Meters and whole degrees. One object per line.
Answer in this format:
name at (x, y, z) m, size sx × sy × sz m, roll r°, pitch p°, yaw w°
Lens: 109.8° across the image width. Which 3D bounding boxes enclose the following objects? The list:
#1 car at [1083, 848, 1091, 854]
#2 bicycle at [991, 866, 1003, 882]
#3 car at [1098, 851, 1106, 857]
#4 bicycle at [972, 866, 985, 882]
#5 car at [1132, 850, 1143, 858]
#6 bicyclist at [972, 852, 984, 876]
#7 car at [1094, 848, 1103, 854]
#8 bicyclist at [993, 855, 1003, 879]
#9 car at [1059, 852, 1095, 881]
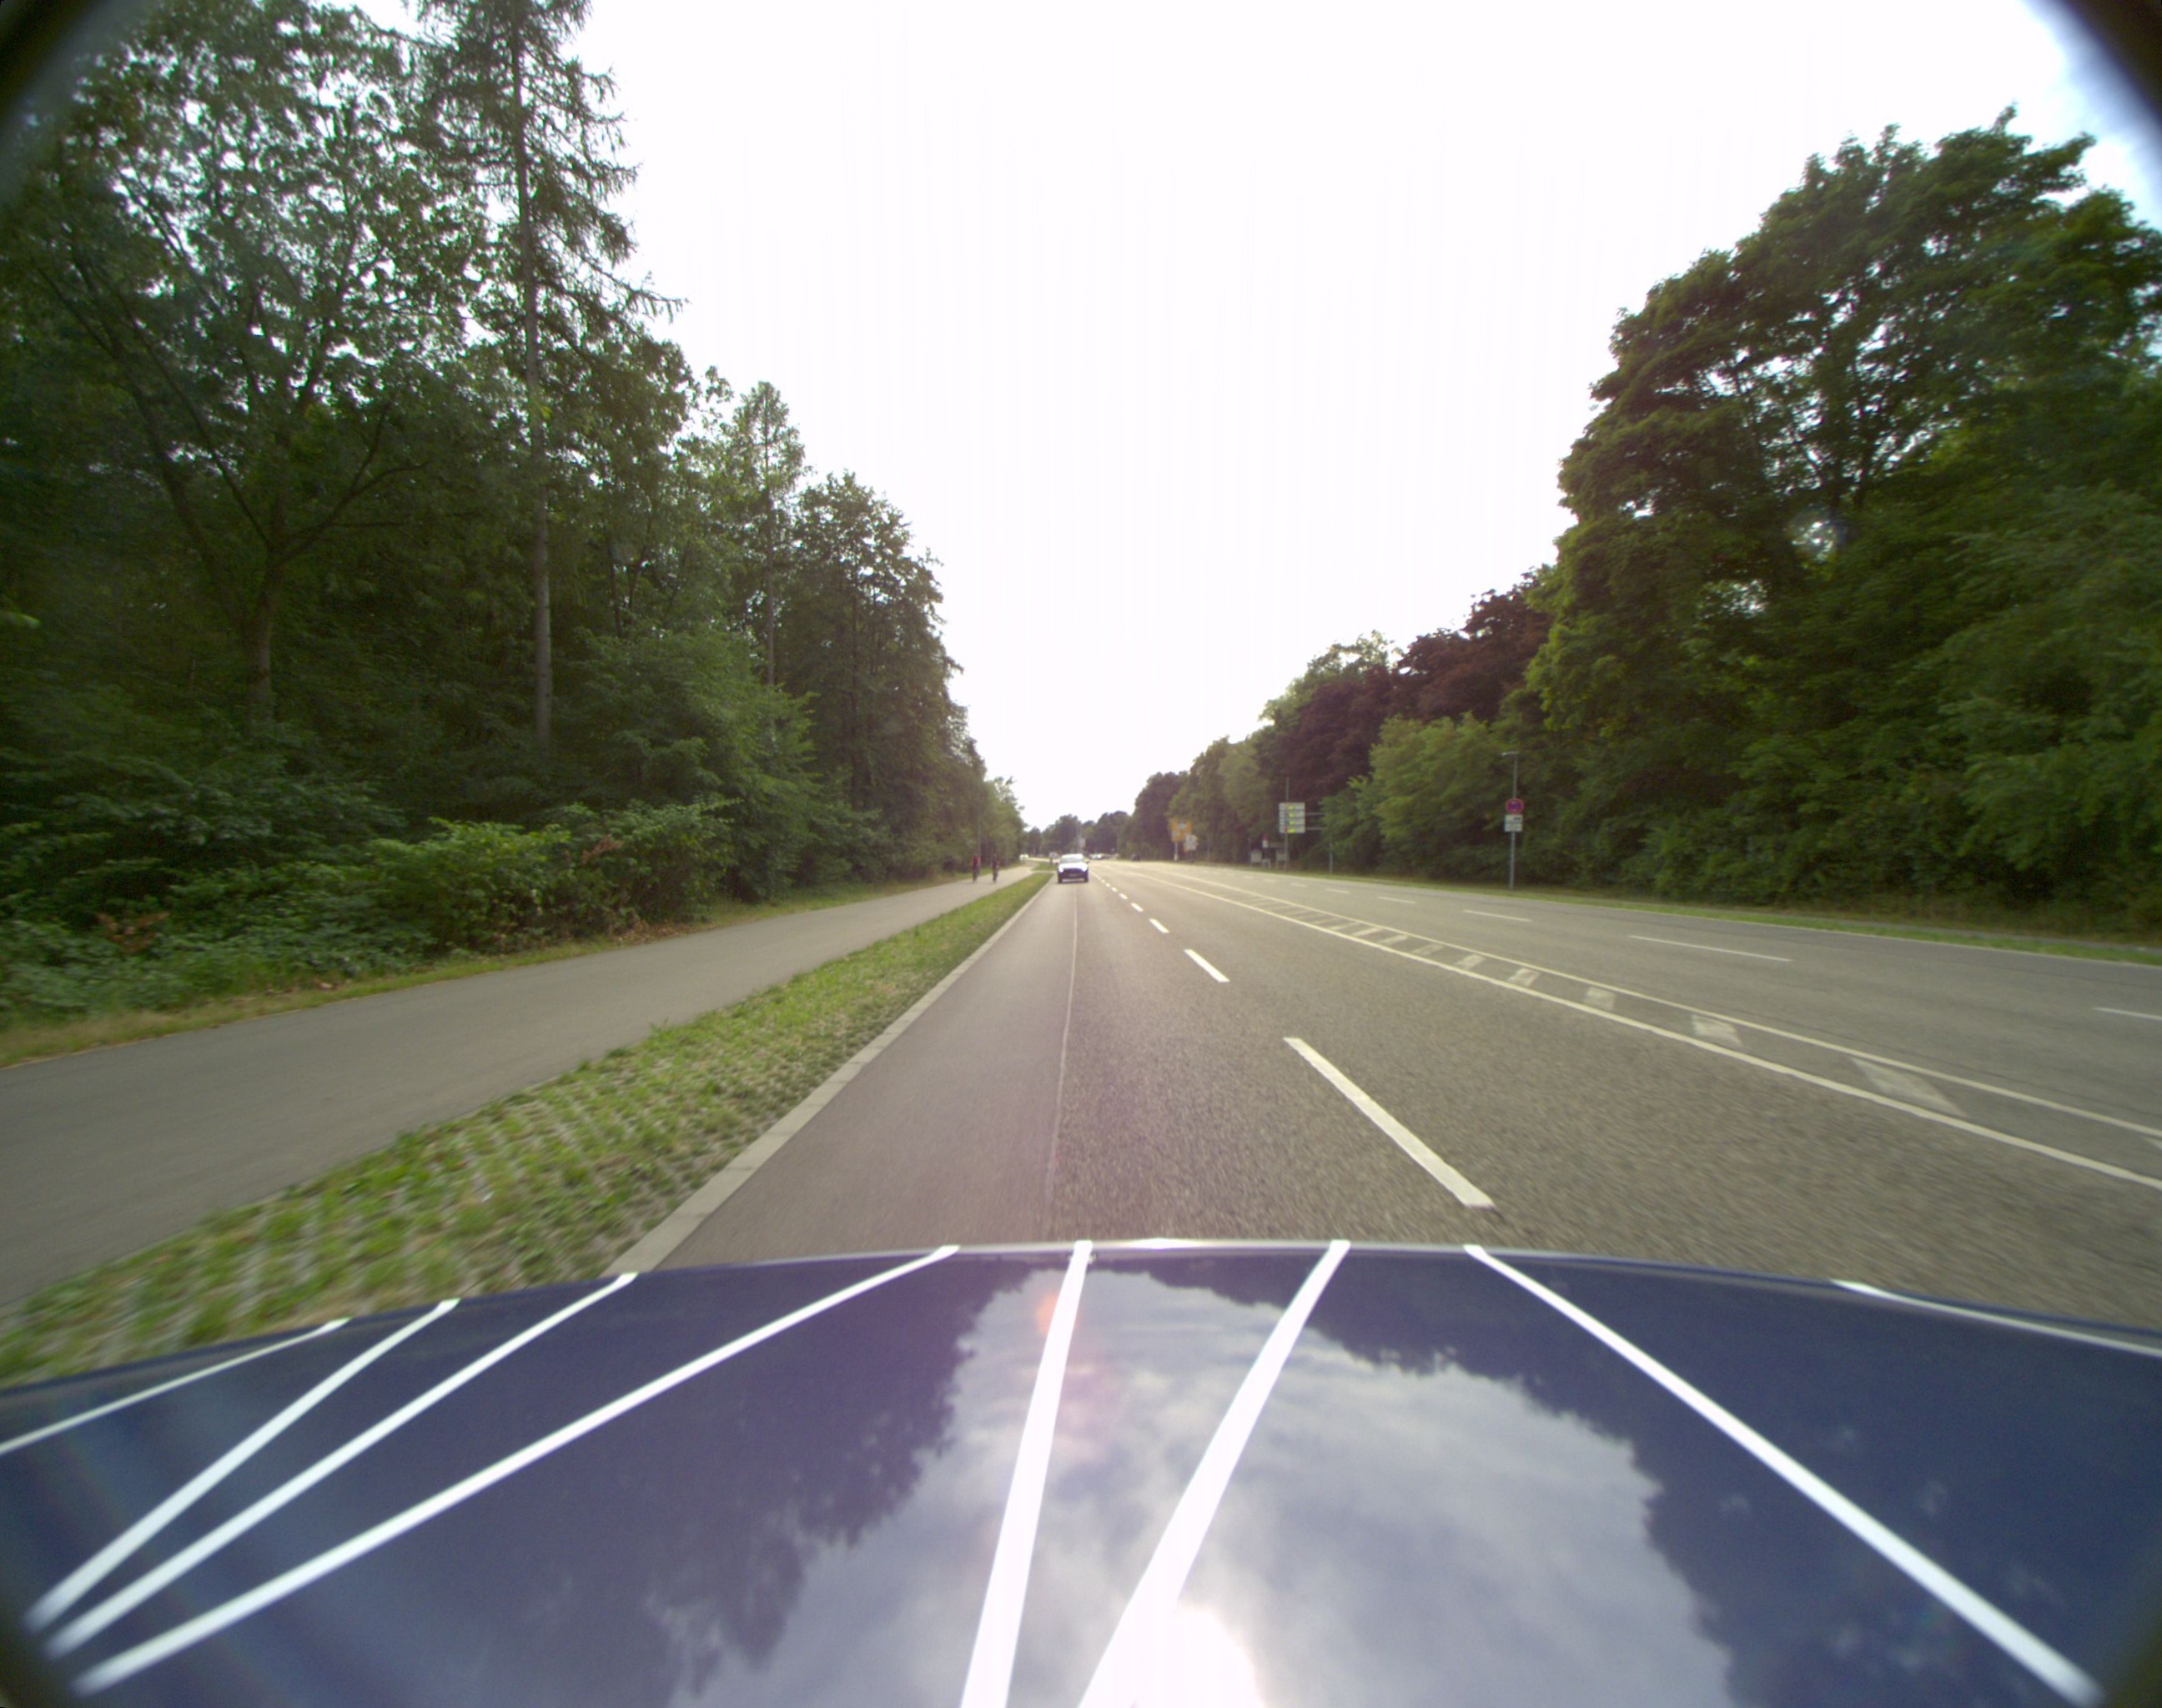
car at (1.974, -1.124, 255.184) m, size 1.999 × 2.002 × 3.997 m, roll -3°, pitch 1°, yaw -6°
bicycle at (-5.105, 1.186, 46.196) m, size 0.567 × 0.906 × 1.754 m, roll 1°, pitch 1°, yaw -2°
car at (6.309, 0.019, 231.711) m, size 1.999 × 1.585 × 3.997 m, roll -3°, pitch 1°, yaw -5°
bicycle at (-6.225, 1.191, 46.150) m, size 0.567 × 0.906 × 1.887 m, roll 2°, pitch 0°, yaw -2°
car at (11.882, -0.003, 160.205) m, size 1.745 × 1.467 × 3.999 m, roll -3°, pitch 1°, yaw -1°
bicyclist at (-6.232, 0.585, 46.126) m, size 0.521 × 1.407 × 1.186 m, roll -2°, pitch 1°, yaw -2°
car at (4.954, -0.782, 213.981) m, size 1.940 × 1.492 × 4.588 m, roll -3°, pitch 1°, yaw -6°
bicyclist at (-5.050, 0.767, 46.107) m, size 0.521 × 1.407 × 1.186 m, roll -1°, pitch 1°, yaw -2°
car at (-0.285, 0.722, 46.651) m, size 1.999 × 1.565 × 3.998 m, roll -3°, pitch 1°, yaw -2°
